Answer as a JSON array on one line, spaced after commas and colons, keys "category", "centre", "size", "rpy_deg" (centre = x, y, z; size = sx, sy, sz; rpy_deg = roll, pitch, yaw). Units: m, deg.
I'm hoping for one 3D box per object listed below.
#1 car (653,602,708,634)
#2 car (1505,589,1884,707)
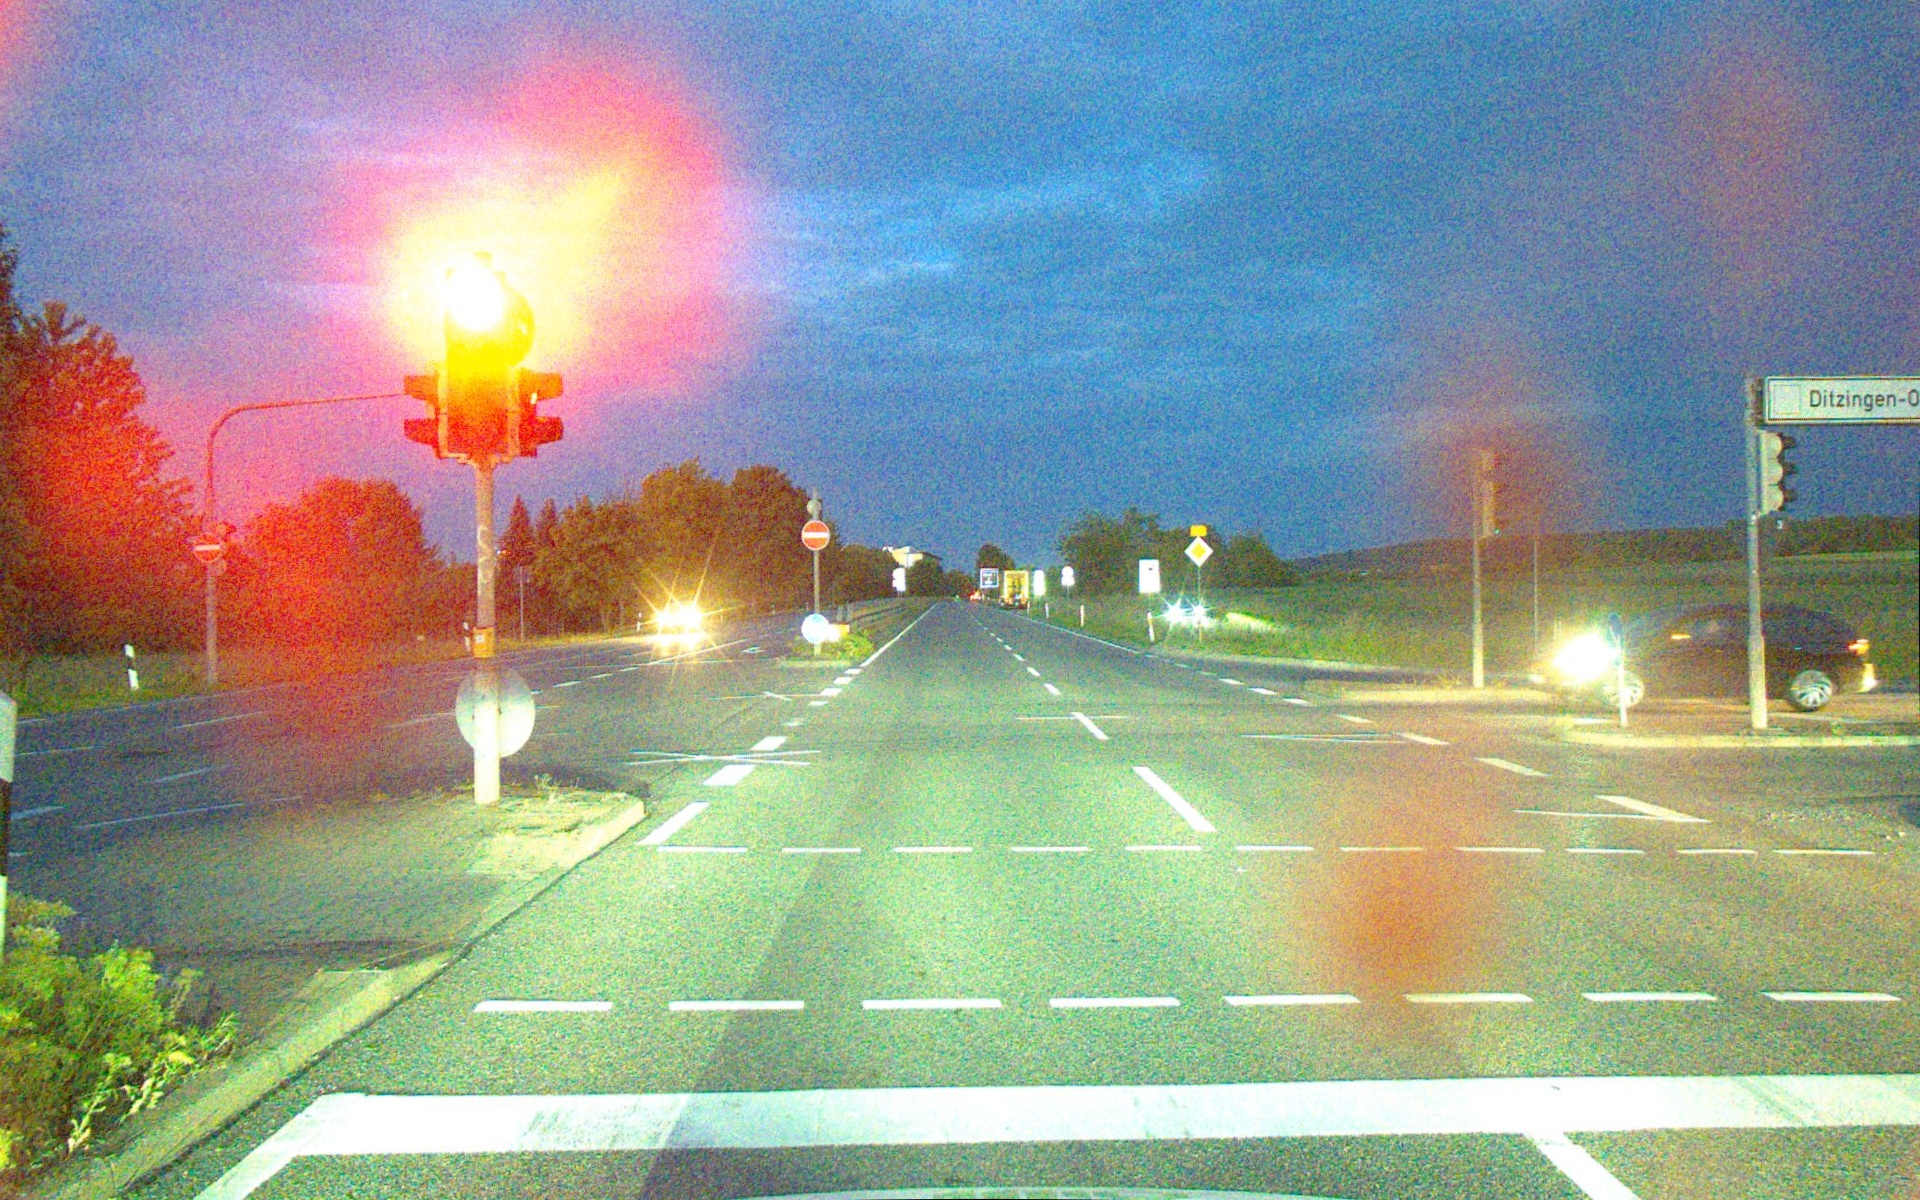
[{"category": "car", "centre": [-13.157, 0.827, 78.170], "size": [1.953, 1.411, 3.999], "rpy_deg": [-1, 0, -1]}, {"category": "car", "centre": [10.332, 0.643, 23.492], "size": [4.509, 1.547, 1.999], "rpy_deg": [-1, 0, -3]}]
